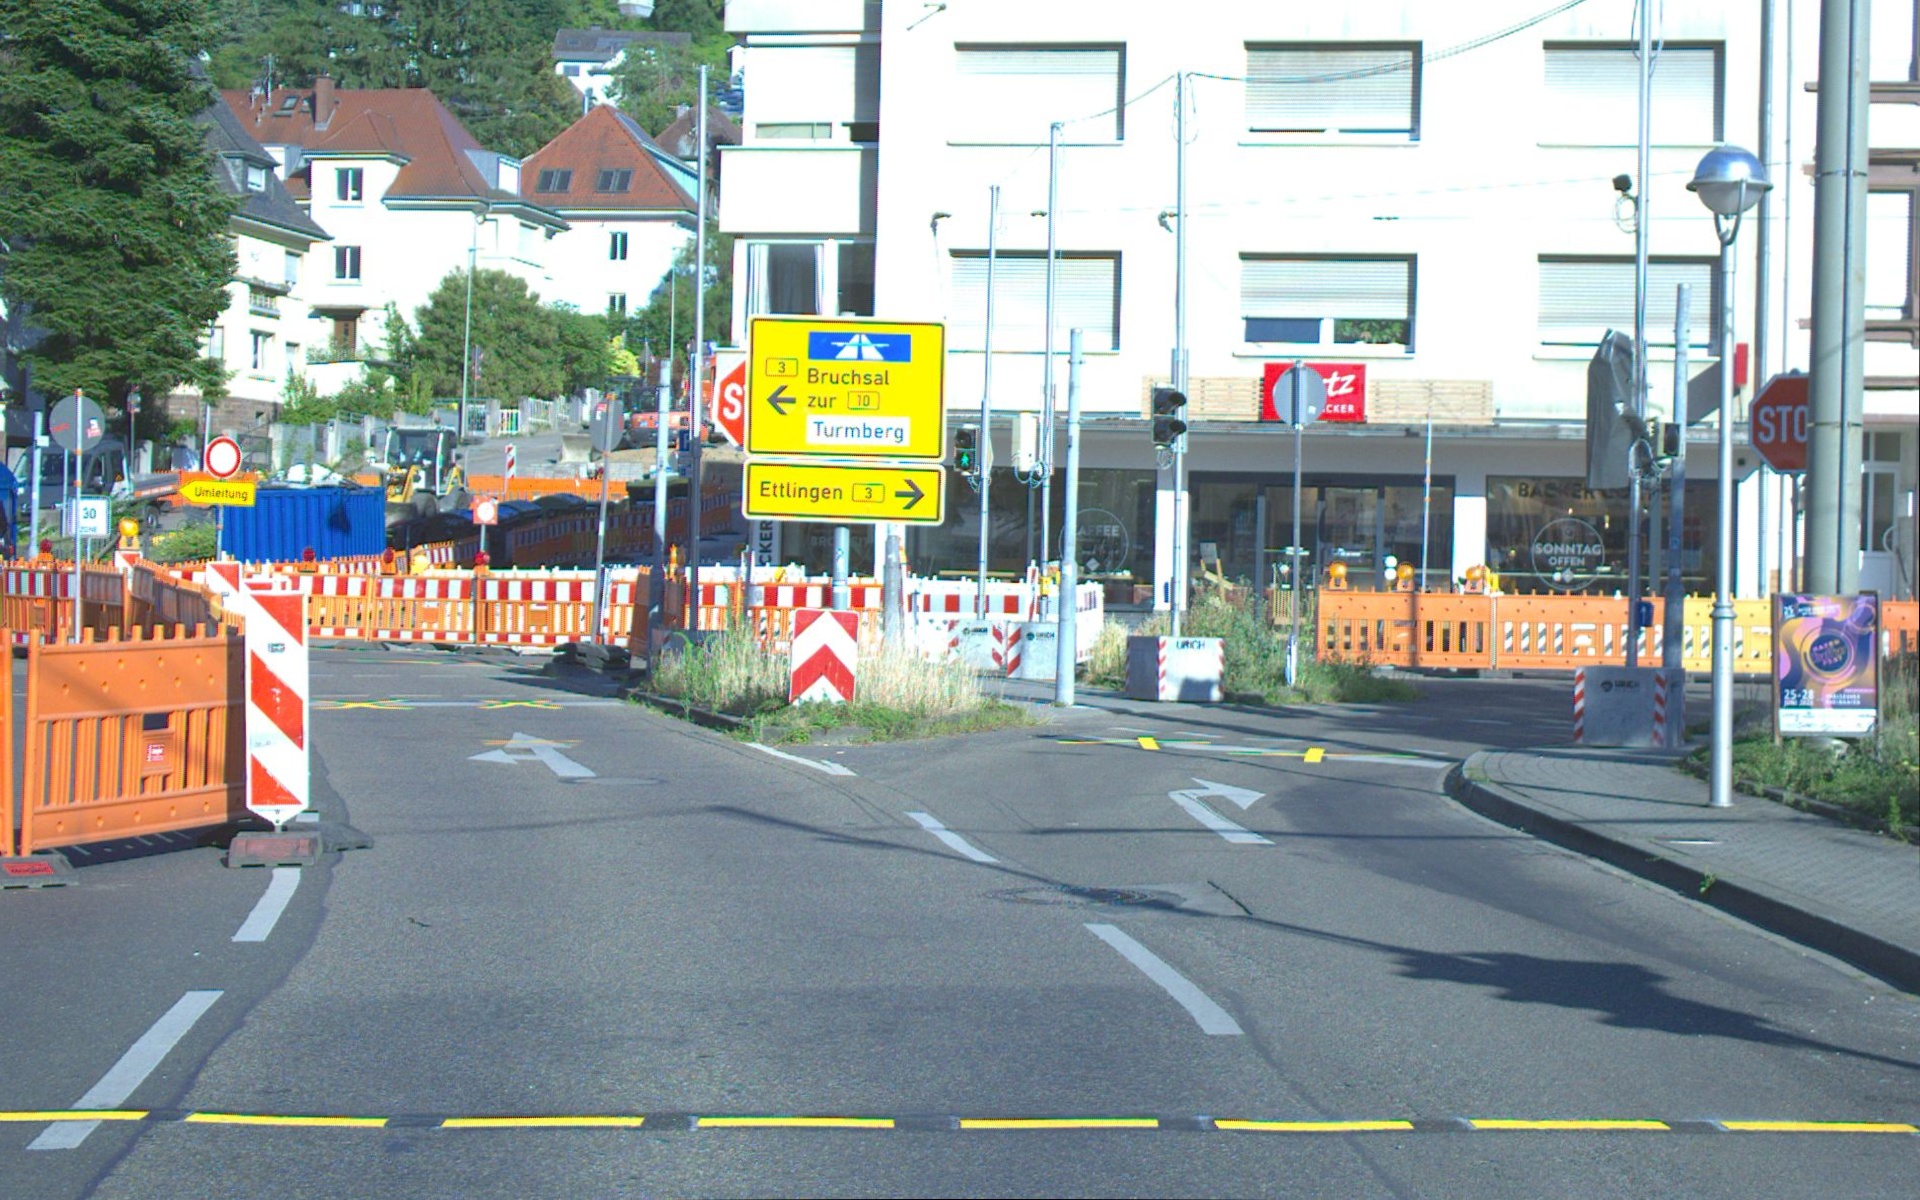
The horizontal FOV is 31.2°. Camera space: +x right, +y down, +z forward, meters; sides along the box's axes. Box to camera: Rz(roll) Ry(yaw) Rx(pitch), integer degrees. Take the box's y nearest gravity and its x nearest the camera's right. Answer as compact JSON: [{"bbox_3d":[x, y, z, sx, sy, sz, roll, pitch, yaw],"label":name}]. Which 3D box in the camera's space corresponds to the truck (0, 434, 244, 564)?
[{"bbox_3d":[-17.217,-1.946,68.647,2.357,2.407,9.147,1,1,11],"label":"truck"}]

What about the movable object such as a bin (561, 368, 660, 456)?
[{"bbox_3d":[-11.541,-6.193,113.742,2.191,2.681,3.998,1,1,10],"label":"movable object such as a bin"}]

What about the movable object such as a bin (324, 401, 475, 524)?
[{"bbox_3d":[-12.888,-3.143,79.312,2.191,2.681,3.998,1,1,10],"label":"movable object such as a bin"}]

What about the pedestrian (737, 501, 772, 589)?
[{"bbox_3d":[-4.178,-1.118,69.956,0.640,1.754,0.718,1,1,-1],"label":"pedestrian"}]

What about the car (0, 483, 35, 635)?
[{"bbox_3d":[-14.892,-0.608,46.341,4.995,2.007,2.064,2,1,38],"label":"car"}]
